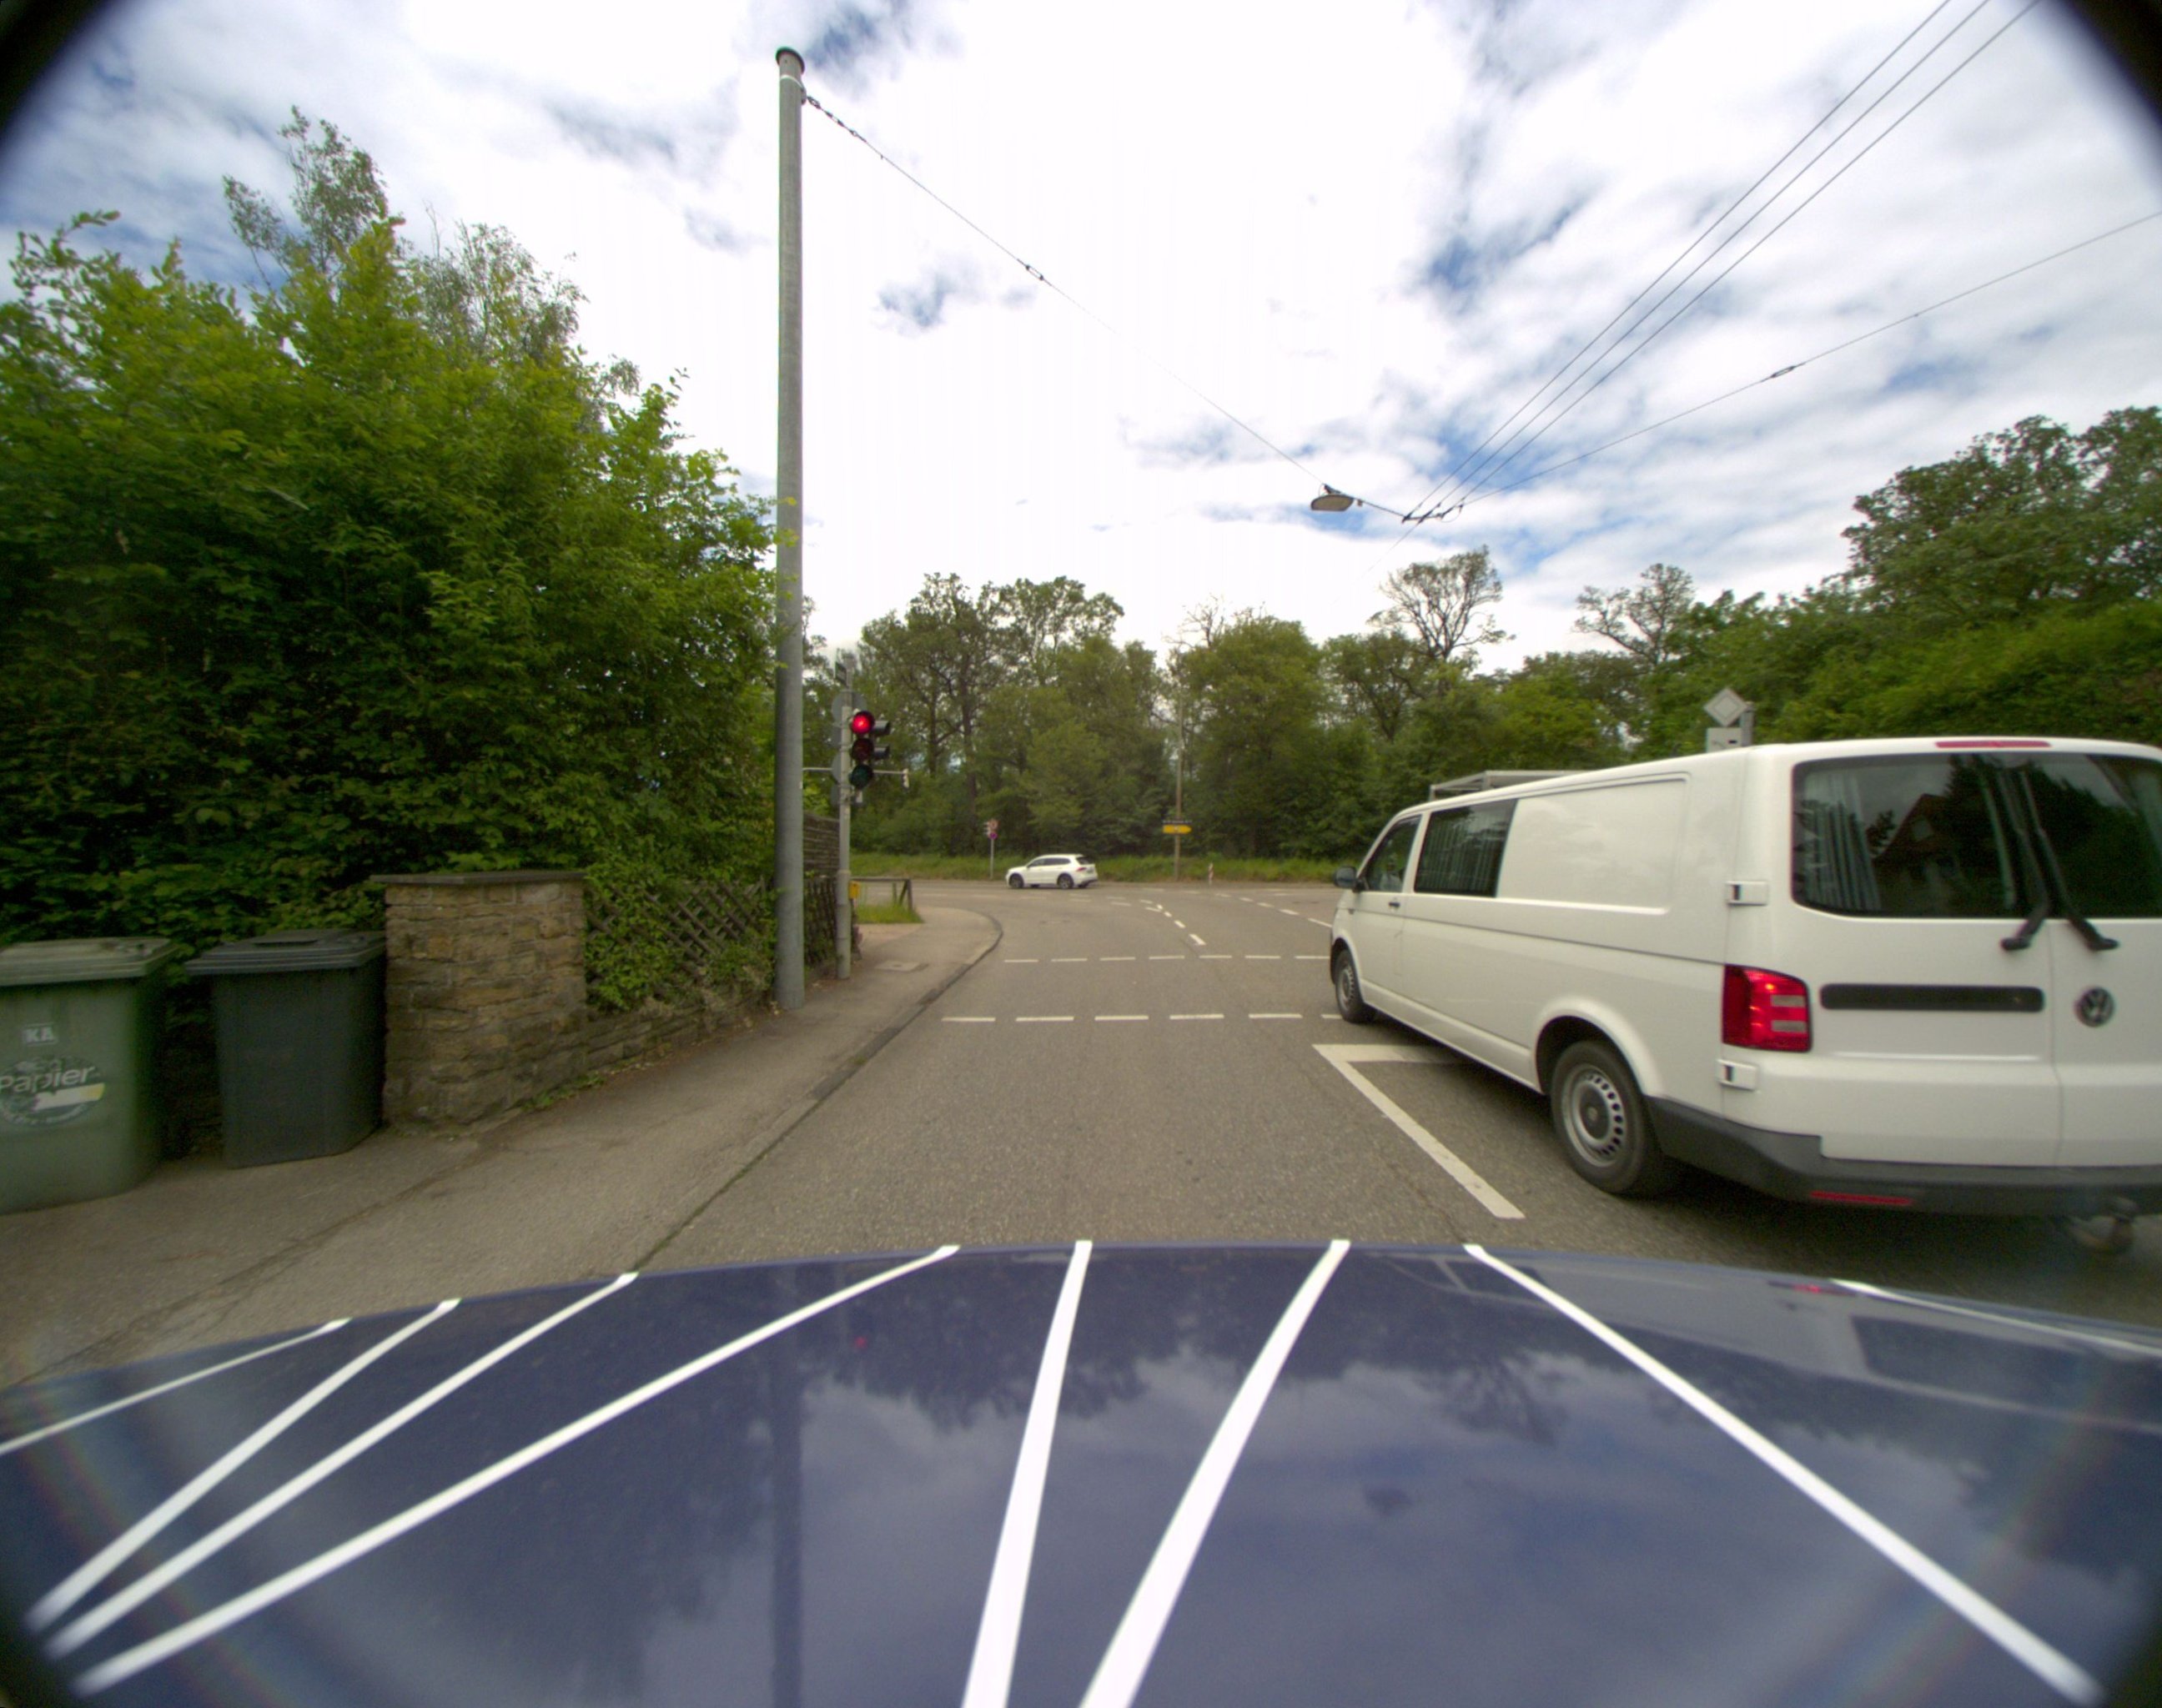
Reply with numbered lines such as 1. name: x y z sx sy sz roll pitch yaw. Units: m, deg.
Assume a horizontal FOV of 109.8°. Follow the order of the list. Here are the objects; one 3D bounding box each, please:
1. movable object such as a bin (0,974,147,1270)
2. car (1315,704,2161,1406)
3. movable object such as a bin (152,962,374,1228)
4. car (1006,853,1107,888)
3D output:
1. movable object such as a bin: -4.322 1.070 3.097 0.541 1.055 0.508 0 0 -36
2. car: 3.157 0.593 4.791 1.862 2.036 5.172 0 0 1
3. movable object such as a bin: -3.786 1.071 3.563 0.541 1.039 0.508 2 0 -25
4. car: -1.229 0.792 37.407 4.641 1.618 1.868 0 0 30
